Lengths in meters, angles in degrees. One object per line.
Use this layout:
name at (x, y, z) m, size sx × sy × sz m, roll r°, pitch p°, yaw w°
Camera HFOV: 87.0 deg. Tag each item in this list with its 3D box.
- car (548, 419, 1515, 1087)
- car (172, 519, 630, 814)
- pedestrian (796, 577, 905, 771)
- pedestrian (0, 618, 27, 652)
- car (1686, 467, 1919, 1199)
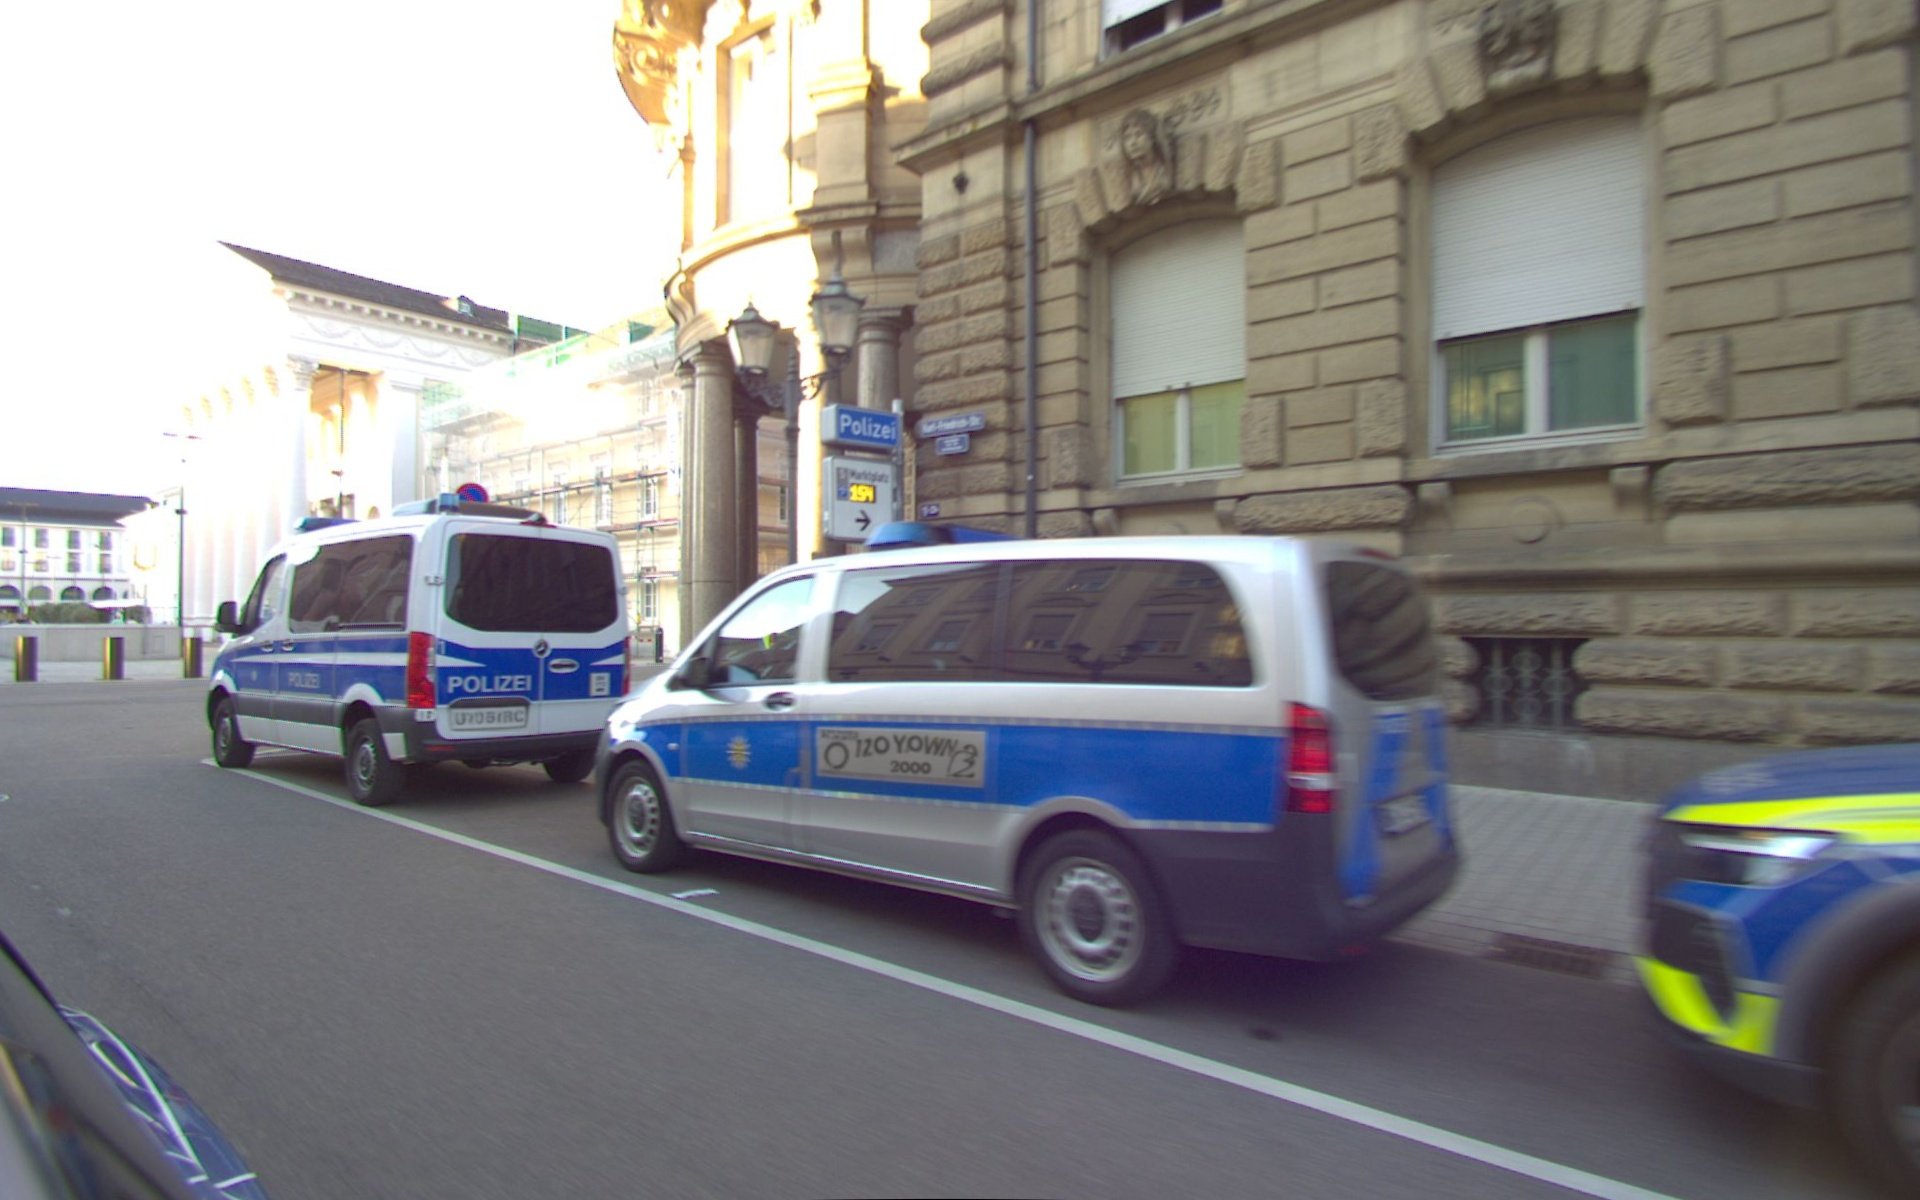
car at (-0.031, 0.528, 5.637) m, size 5.202 × 2.103 × 1.973 m, roll -1°, pitch -2°, yaw 40°
car at (-5.632, 0.549, 9.894) m, size 5.198 × 2.188 × 1.975 m, roll -1°, pitch -2°, yaw 37°
pedestrian at (-1.107, 0.722, 10.257) m, size 0.910 × 1.853 × 0.646 m, roll -1°, pitch -2°, yaw 39°
pedestrian at (-54.083, 1.979, 57.775) m, size 0.881 × 1.926 × 1.077 m, roll -2°, pitch -2°, yaw 42°
car at (4.476, 0.578, 1.928) m, size 4.979 × 1.765 × 1.976 m, roll -1°, pitch -2°, yaw 36°
